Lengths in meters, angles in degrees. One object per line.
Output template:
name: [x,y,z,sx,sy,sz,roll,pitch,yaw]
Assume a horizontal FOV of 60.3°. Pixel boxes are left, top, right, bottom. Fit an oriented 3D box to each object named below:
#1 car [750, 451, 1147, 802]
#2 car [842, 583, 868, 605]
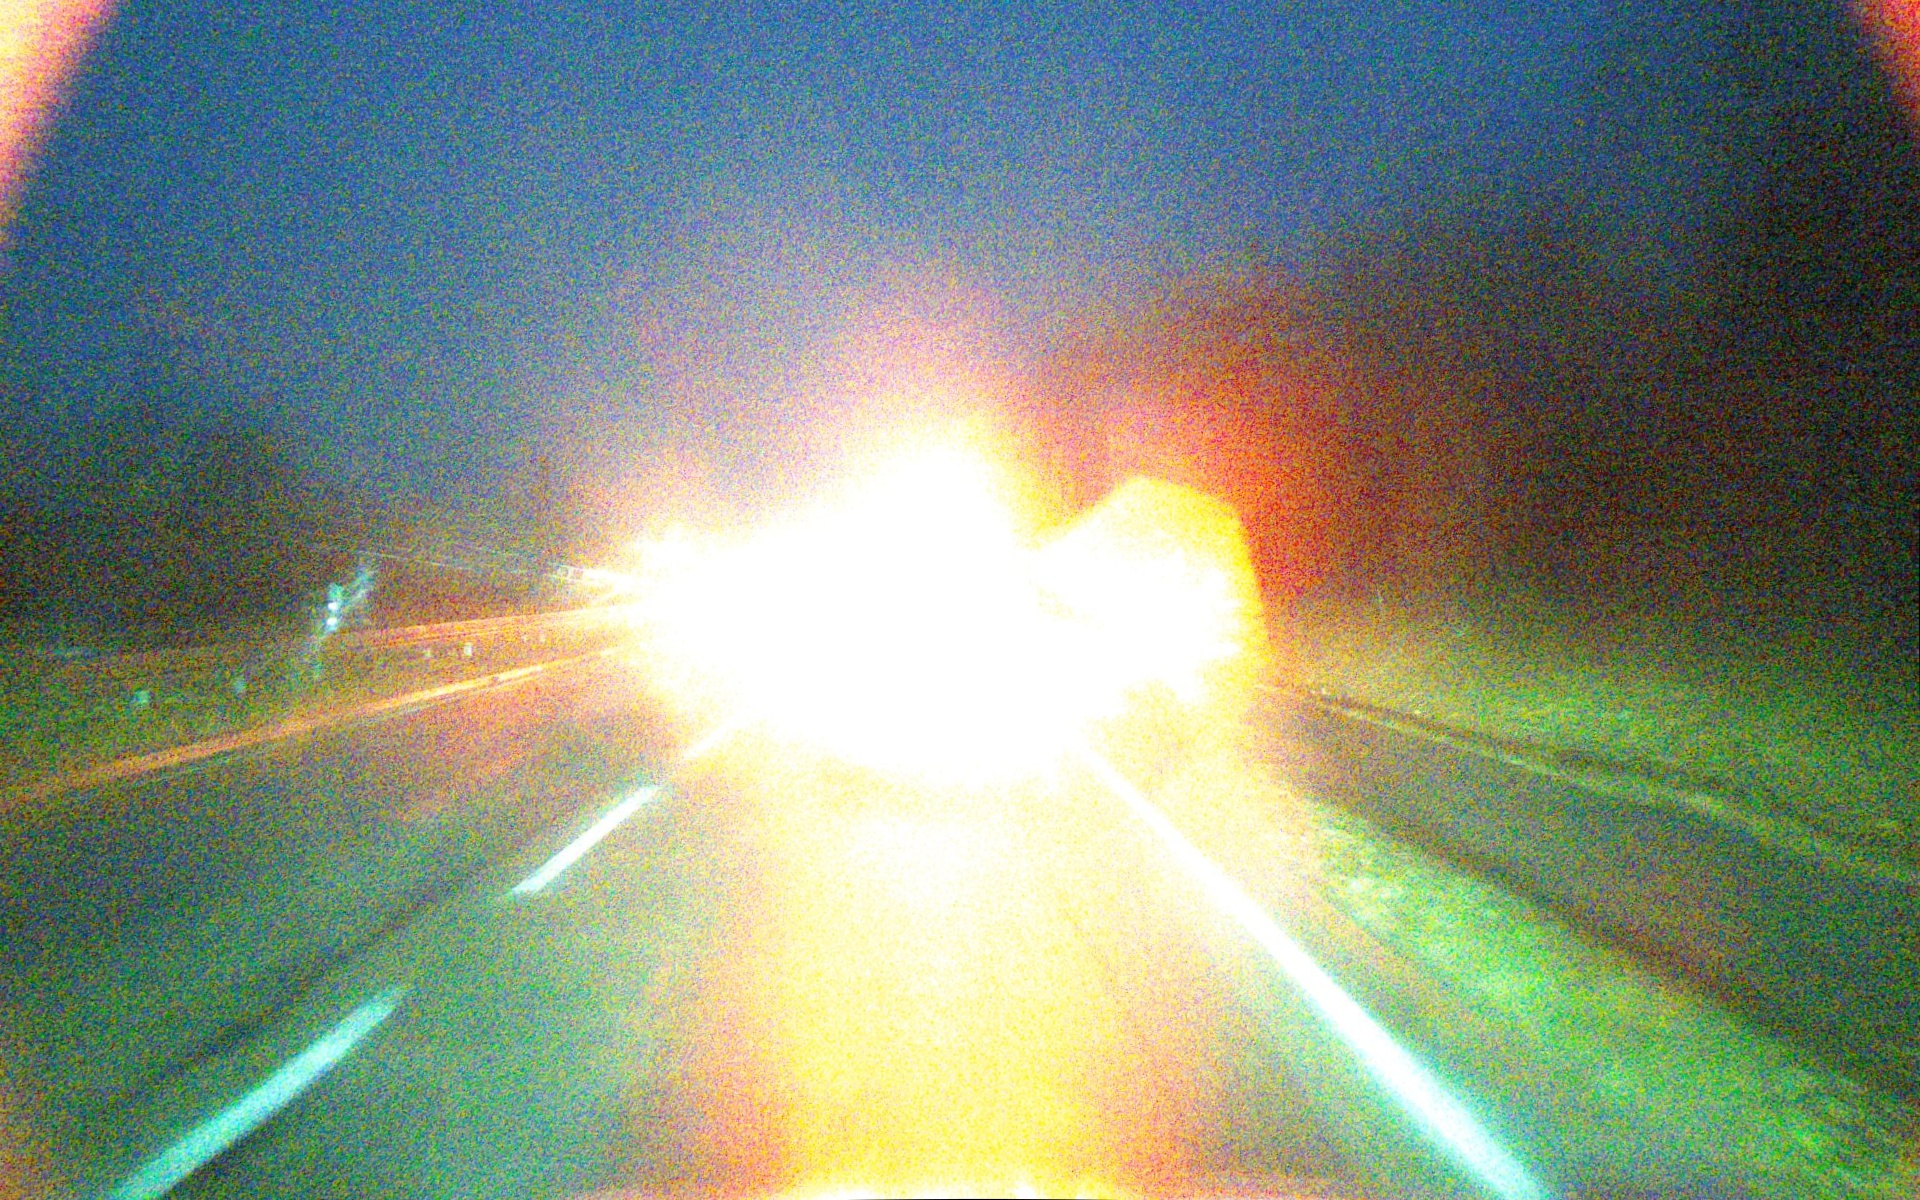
car: [-0.159,0.142,14.173,2.660,2.348,6.099,0,1,-2]
car: [-7.468,-0.439,117.862,1.512,1.537,3.880,1,0,0]
